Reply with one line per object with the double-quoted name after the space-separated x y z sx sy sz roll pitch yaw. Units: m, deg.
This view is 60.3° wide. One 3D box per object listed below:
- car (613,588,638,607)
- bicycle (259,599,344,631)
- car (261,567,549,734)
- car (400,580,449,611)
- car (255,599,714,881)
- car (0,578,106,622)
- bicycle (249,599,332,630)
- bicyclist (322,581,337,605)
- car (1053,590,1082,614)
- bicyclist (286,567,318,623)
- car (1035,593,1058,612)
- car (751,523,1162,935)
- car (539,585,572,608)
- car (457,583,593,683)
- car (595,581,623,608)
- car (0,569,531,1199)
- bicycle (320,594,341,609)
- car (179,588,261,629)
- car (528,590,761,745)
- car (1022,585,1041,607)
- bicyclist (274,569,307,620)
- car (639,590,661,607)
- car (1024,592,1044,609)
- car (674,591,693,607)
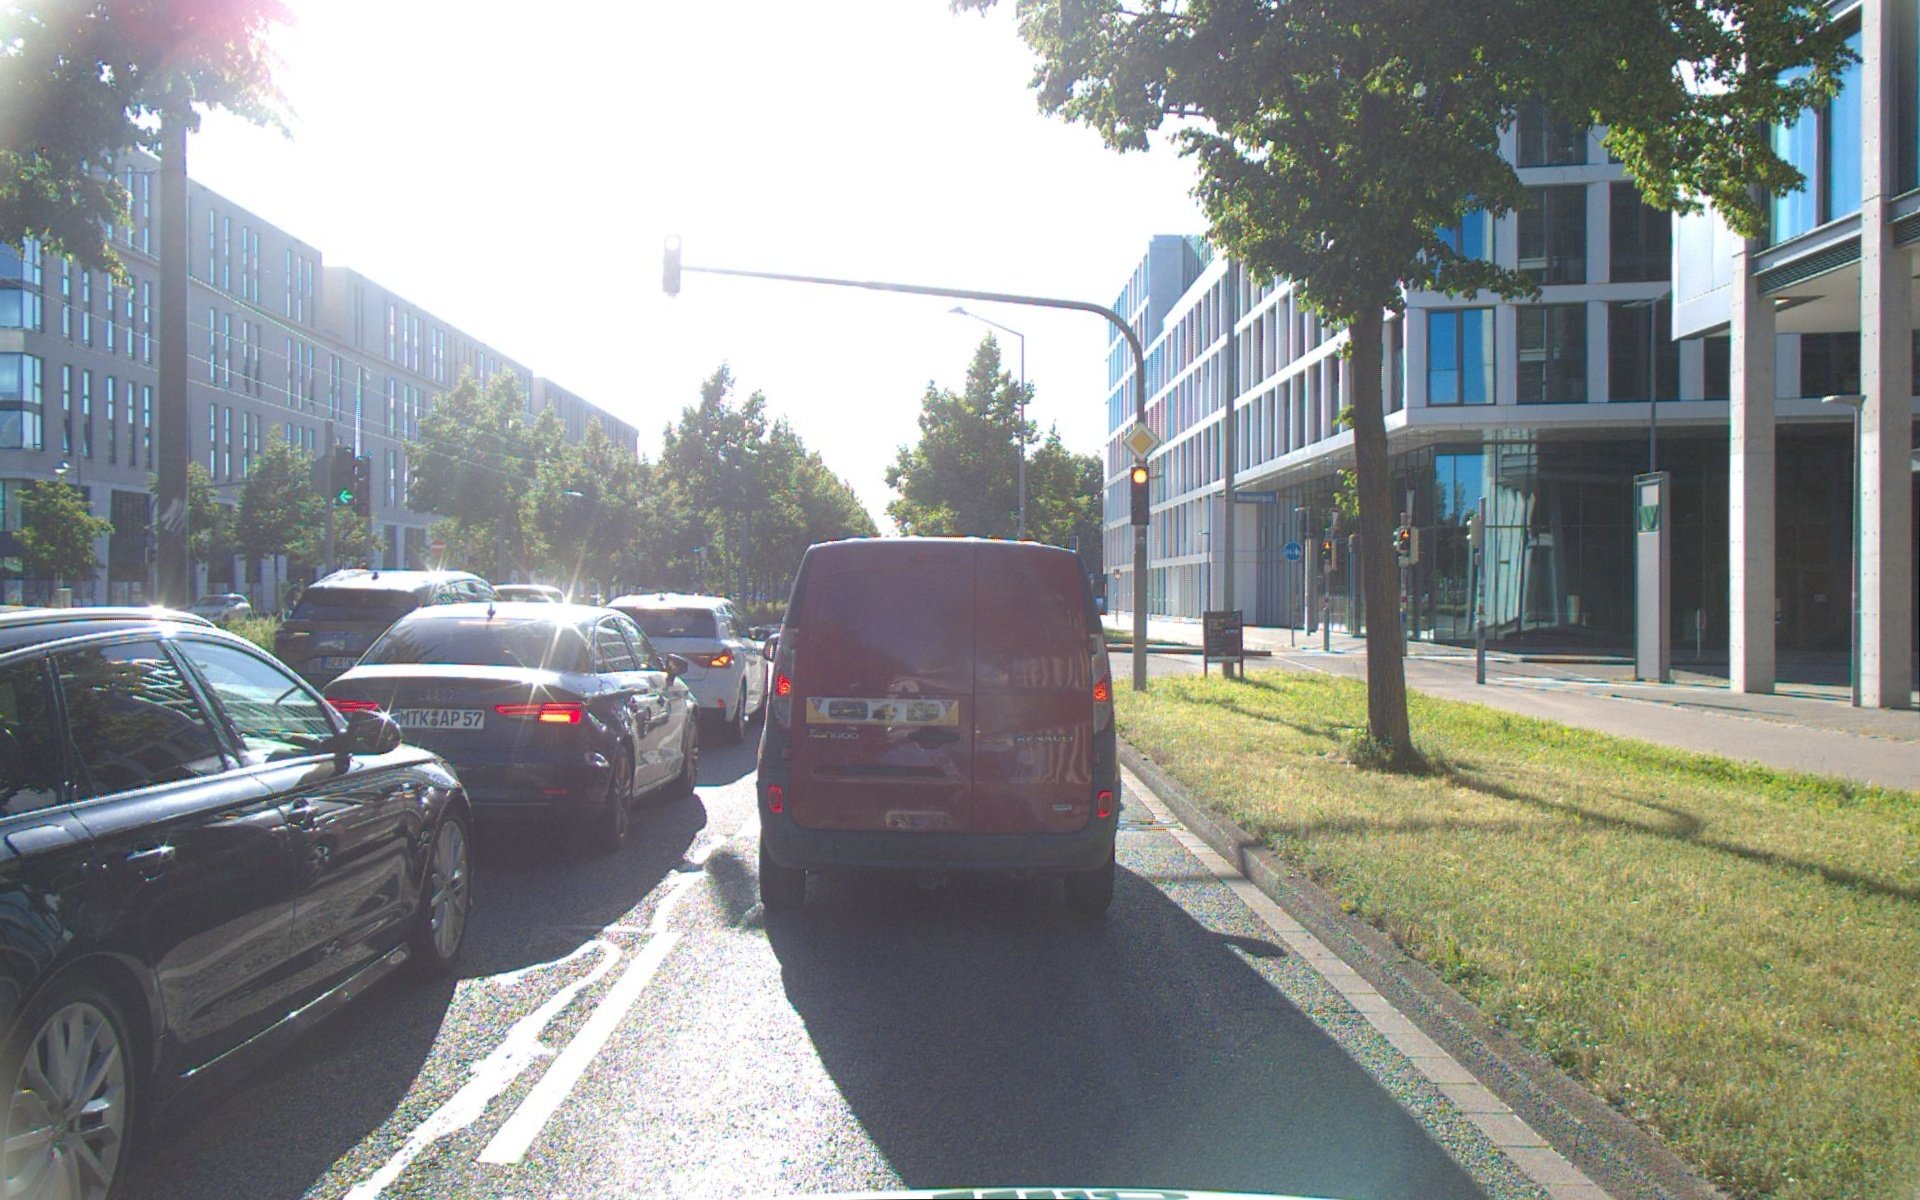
-36.727 -0.250 181.859 1.953 2.049 3.999 0 0 -1 "car"
-25.130 0.572 63.196 2.885 1.211 0.816 0 0 -7 "bicycle"
-5.796 0.435 17.874 1.763 1.472 4.566 2 1 -3 "car"
-35.286 -0.300 109.116 1.953 2.049 3.999 0 0 -1 "car"
-2.807 0.732 10.823 1.804 1.451 4.338 0 0 -1 "car"
-33.196 -0.024 60.658 1.729 1.546 3.999 0 0 -1 "car"
-26.225 0.558 64.782 2.884 1.211 0.817 0 0 -4 "bicycle"
-40.616 -0.446 106.579 0.663 1.556 0.714 0 0 -1 "bicyclist"
8.324 0.167 128.034 1.953 1.813 3.999 0 0 -1 "car"
-25.136 -0.201 63.207 0.922 2.129 0.817 0 0 -6 "bicyclist"
8.415 0.258 160.750 1.953 1.813 3.999 0 0 -1 "car"
-0.043 0.560 9.303 1.804 1.812 3.999 0 0 -1 "car"
-36.372 -0.324 148.779 1.953 2.049 3.999 0 0 -1 "car"
-7.570 0.518 29.163 1.766 1.508 4.559 3 0 -9 "car"
-35.608 -0.542 167.822 1.953 2.653 3.999 0 0 -1 "car"
-2.766 0.686 4.919 1.836 1.510 4.965 0 0 -2 "car"
-40.626 0.085 106.721 0.663 1.005 1.956 0 0 -1 "bicycle"
-34.744 0.381 77.777 1.953 1.845 4.369 0 0 -1 "car"
-3.203 0.629 17.523 1.767 1.451 3.900 0 0 -1 "car"
8.571 -0.489 198.472 1.953 2.540 4.986 0 0 -1 "car"
-26.221 -0.217 64.799 0.979 1.981 0.817 0 0 -4 "bicyclist"
-37.225 -0.226 198.666 1.953 2.049 3.999 0 0 -1 "car"
8.058 0.092 179.945 1.953 1.813 3.999 0 0 -1 "car"
-37.178 -0.161 222.307 1.953 2.049 3.999 0 0 -1 "car"
